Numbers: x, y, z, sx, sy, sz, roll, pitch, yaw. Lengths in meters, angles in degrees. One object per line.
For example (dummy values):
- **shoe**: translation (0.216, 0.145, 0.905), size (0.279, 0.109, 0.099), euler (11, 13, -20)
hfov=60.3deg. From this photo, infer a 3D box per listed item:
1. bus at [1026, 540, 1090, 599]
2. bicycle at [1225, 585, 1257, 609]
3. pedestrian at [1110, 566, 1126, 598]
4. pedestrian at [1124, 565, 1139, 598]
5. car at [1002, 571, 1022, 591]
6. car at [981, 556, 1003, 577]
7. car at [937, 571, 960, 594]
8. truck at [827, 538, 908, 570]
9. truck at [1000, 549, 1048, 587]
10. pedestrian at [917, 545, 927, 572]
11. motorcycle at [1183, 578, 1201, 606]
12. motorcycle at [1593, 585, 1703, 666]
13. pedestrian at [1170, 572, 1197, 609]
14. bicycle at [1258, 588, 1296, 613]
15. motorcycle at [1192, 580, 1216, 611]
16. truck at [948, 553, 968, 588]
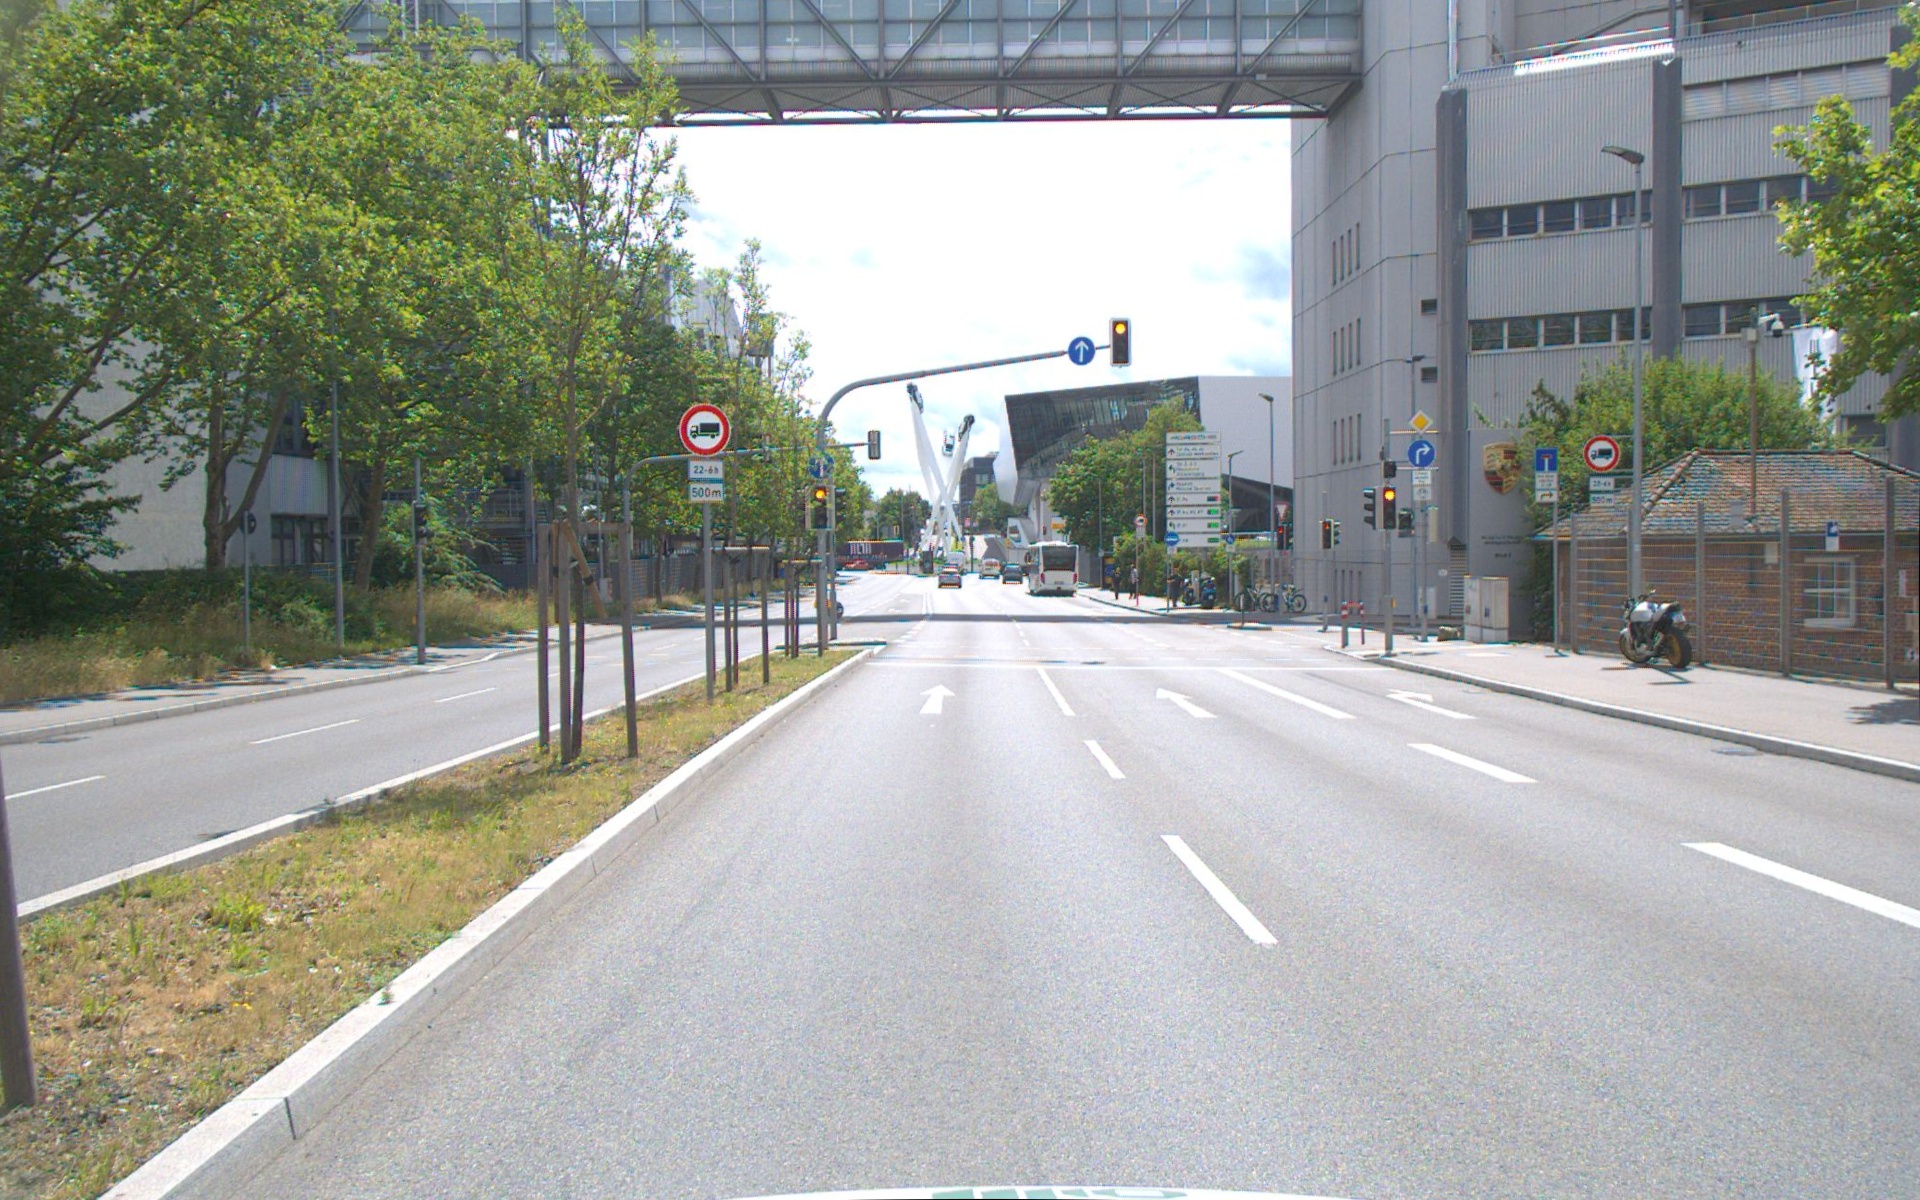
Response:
- **bus**: translation (6.326, -1.955, 108.155), size (3.382, 3.605, 10.604), euler (0, 1, -1)
- **bicycle**: translation (11.227, -0.119, 66.091), size (0.391, 0.953, 1.918), euler (0, 1, -18)
- **pedestrian**: translation (8.657, -0.971, 90.807), size (0.803, 1.737, 0.881), euler (0, 0, 0)
- **pedestrian**: translation (9.338, -1.009, 90.099), size (0.623, 1.772, 0.822), euler (0, 0, -6)
- **car**: translation (4.665, -1.720, 148.110), size (1.702, 1.772, 3.691), euler (0, 1, 0)
- **car**: translation (3.327, -3.484, 173.386), size (1.954, 2.049, 3.998), euler (1, -1, -3)
- **car**: translation (-0.897, -1.360, 127.449), size (1.702, 1.772, 3.691), euler (0, 1, 0)
- **truck**: translation (-14.046, -7.014, 251.960), size (12.000, 4.399, 3.538), euler (1, -1, -31)
- **truck**: translation (7.654, -3.762, 196.552), size (3.380, 4.468, 9.425), euler (0, 1, 18)
- **pedestrian**: translation (-5.164, -5.619, 226.086), size (1.387, 3.663, 1.283), euler (0, 0, -1)
- **motorcycle**: translation (10.891, -0.383, 77.745), size (0.562, 1.224, 2.024), euler (-2, 1, 0)
- **motorcycle**: translation (10.770, 0.374, 25.972), size (0.679, 1.178, 2.146), euler (-2, 1, -4)
- **pedestrian**: translation (10.128, -0.431, 74.935), size (0.835, 1.653, 0.951), euler (1, 1, 41)
- **bicycle**: translation (12.219, 0.006, 63.800), size (0.392, 0.953, 1.913), euler (0, 1, -25)
- **motorcycle**: translation (10.301, -0.186, 69.854), size (0.692, 1.224, 2.024), euler (-2, 1, 0)
- **truck**: translation (-0.230, -3.401, 192.307), size (2.343, 3.965, 6.177), euler (0, 1, 0)
